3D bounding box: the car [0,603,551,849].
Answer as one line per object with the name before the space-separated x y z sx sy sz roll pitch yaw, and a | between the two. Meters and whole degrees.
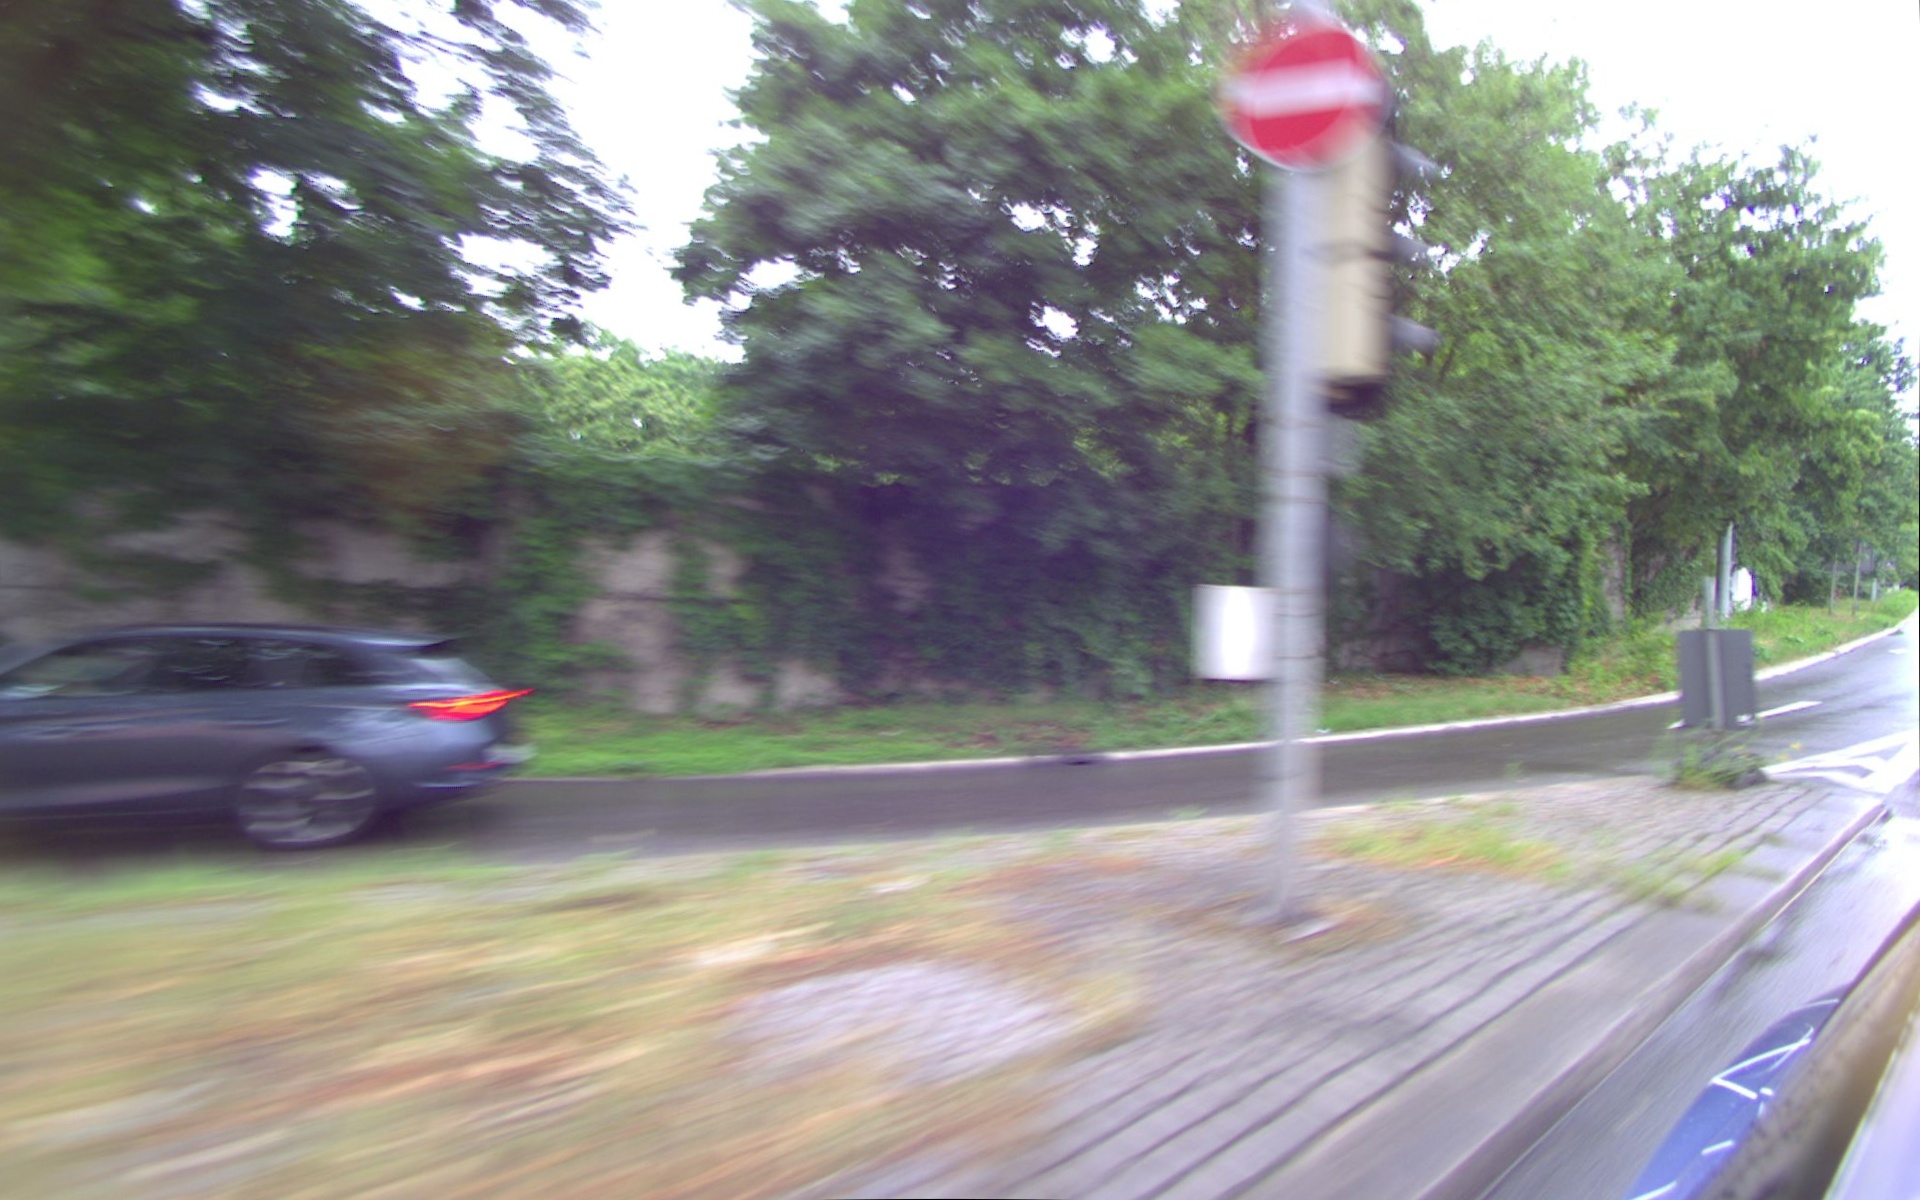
car | -5.300 0.791 7.020 4.322 1.421 1.756 -1 -2 -11
